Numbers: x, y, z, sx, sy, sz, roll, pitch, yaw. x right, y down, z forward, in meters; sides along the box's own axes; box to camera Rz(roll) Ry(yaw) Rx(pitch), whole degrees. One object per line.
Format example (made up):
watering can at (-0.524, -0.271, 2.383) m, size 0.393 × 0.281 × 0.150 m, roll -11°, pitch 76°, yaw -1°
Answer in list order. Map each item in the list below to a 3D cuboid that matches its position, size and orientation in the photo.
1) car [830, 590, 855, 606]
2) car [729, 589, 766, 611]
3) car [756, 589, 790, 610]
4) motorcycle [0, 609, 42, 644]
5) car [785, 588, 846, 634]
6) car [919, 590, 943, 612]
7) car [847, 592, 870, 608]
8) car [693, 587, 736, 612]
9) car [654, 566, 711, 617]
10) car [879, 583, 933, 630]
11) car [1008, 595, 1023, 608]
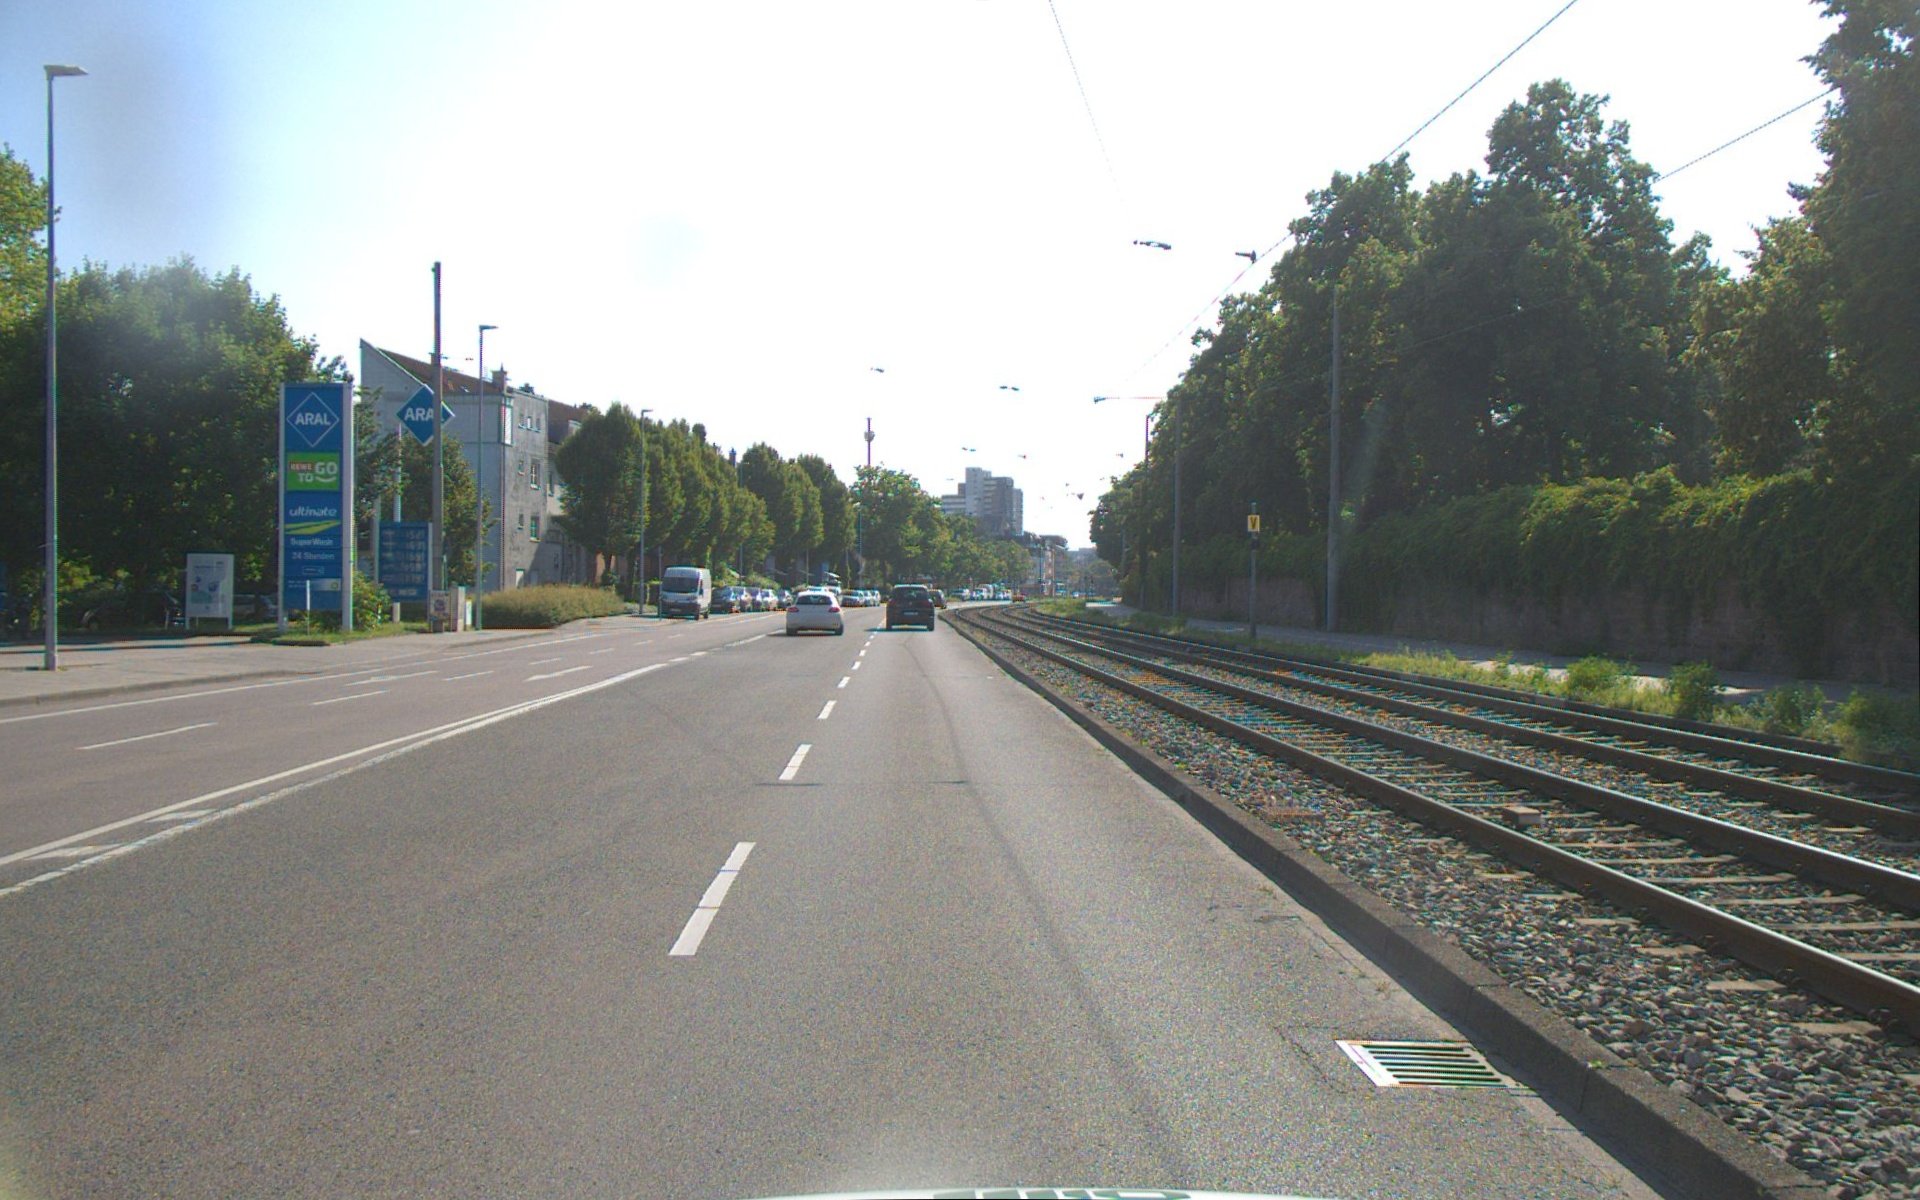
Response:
car at (-10.852, -0.160, 152.935) m, size 1.953 × 1.441 × 3.844 m, roll 0°, pitch 1°, yaw 0°
car at (-13.997, -0.030, 109.007) m, size 1.953 × 1.441 × 3.844 m, roll 0°, pitch 1°, yaw 0°
car at (-13.525, -0.033, 119.835) m, size 1.953 × 1.441 × 3.844 m, roll 0°, pitch 1°, yaw 0°
motorcycle at (-26.069, 0.718, 45.588) m, size 0.657 × 0.917 × 1.670 m, roll 0°, pitch 0°, yaw -2°
car at (-4.608, 0.337, 53.191) m, size 1.745 × 1.380 × 3.600 m, roll 2°, pitch 0°, yaw -2°
car at (-2.151, 0.063, 123.506) m, size 1.689 × 1.620 × 3.601 m, roll 2°, pitch 0°, yaw 1°
car at (-9.645, -0.031, 157.691) m, size 1.953 × 1.441 × 3.844 m, roll 0°, pitch 1°, yaw 0°
car at (-14.387, -0.035, 97.106) m, size 1.953 × 1.441 × 3.844 m, roll 0°, pitch 1°, yaw 0°
car at (-13.673, -0.428, 81.667) m, size 1.952 × 2.418 × 4.539 m, roll 0°, pitch 0°, yaw 1°
car at (-2.027, 0.204, 60.971) m, size 1.691 × 1.620 × 3.596 m, roll 2°, pitch 0°, yaw -6°
car at (6.969, 0.174, 206.788) m, size 1.688 × 1.620 × 3.603 m, roll 2°, pitch 0°, yaw 4°
